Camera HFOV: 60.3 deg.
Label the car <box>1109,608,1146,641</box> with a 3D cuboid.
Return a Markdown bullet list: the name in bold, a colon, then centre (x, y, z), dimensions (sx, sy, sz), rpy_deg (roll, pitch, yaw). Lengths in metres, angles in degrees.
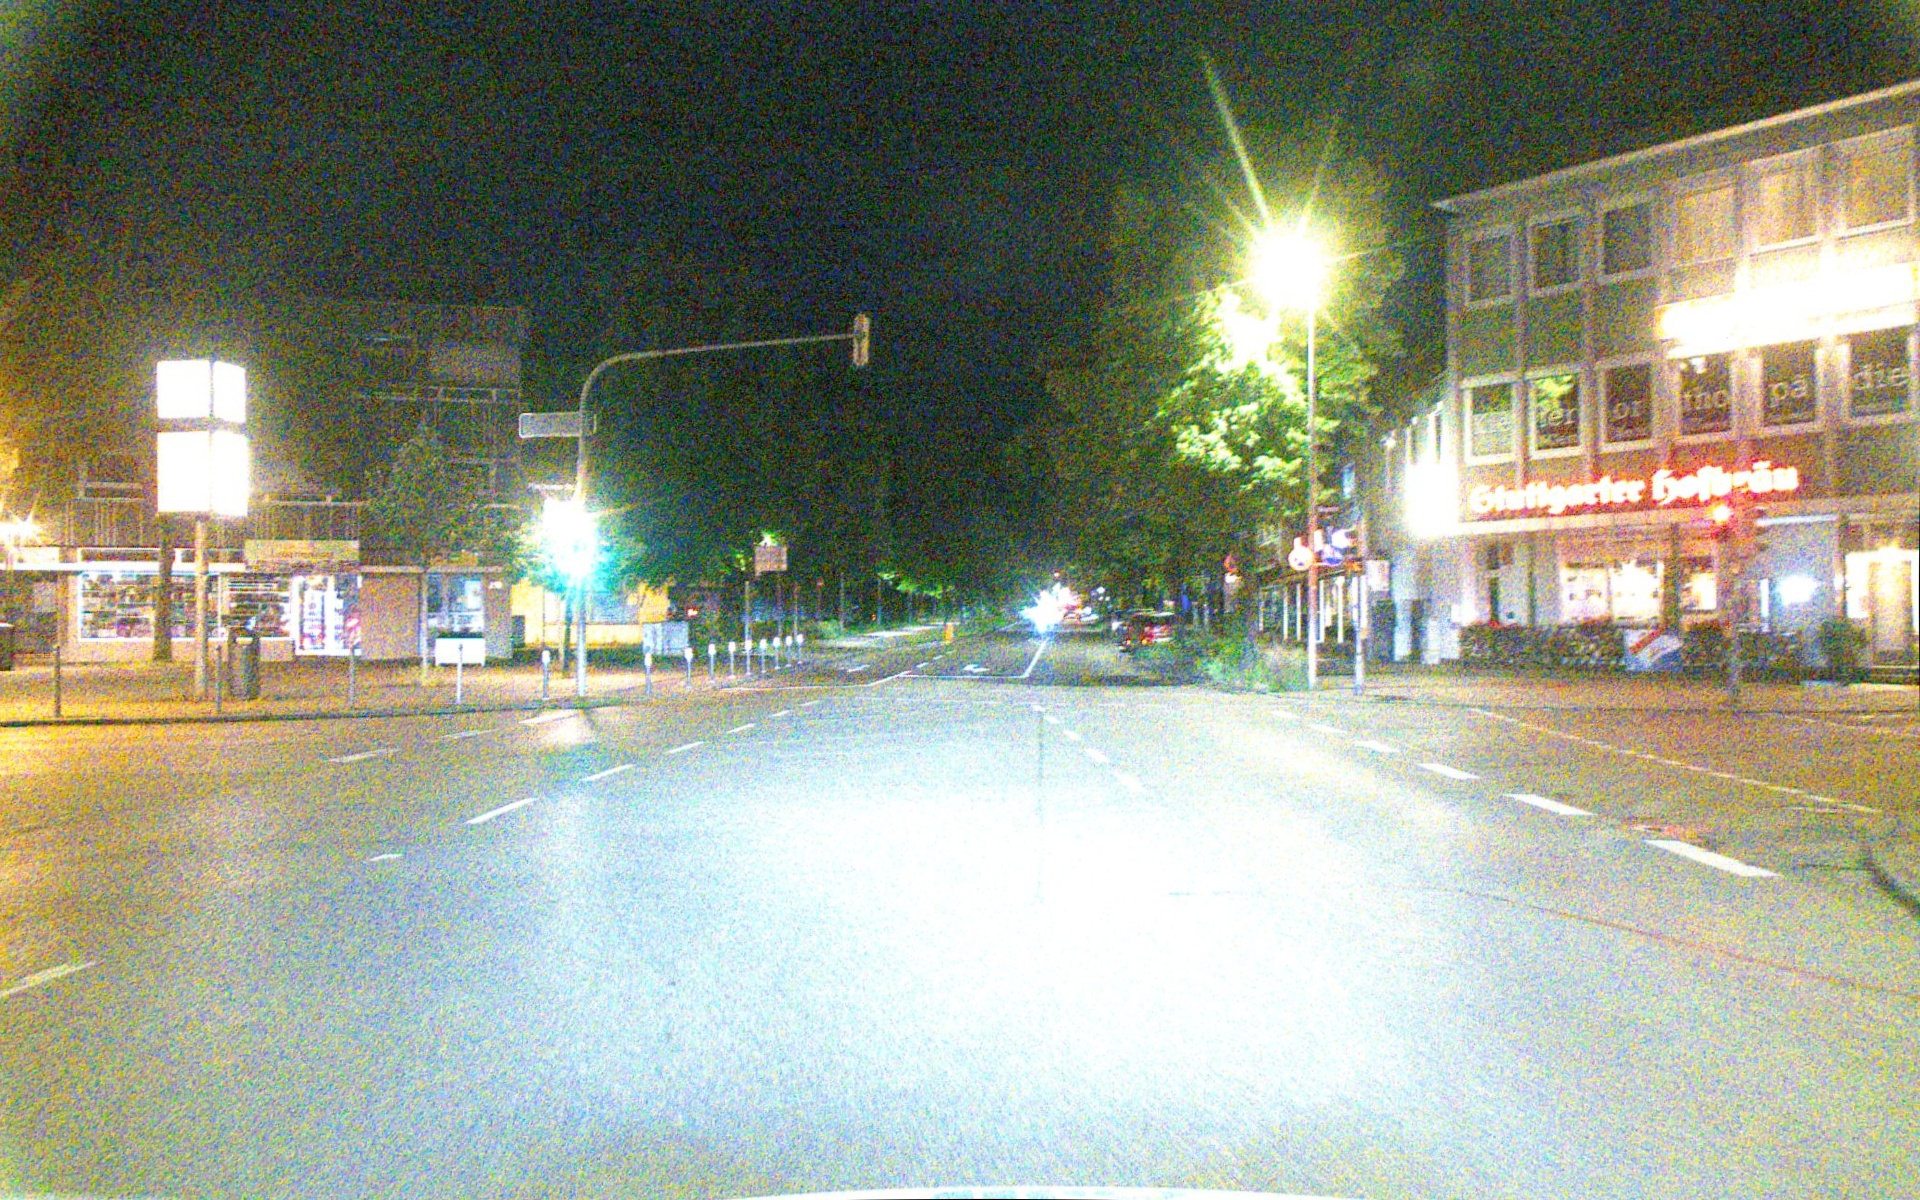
- **car**: centre (9.085, 1.333, 89.881), dimensions (1.837, 1.713, 4.002), rpy_deg (0, -1, 4)

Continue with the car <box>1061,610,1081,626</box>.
- **car**: centre (10.614, 1.688, 157.834), dimensions (1.834, 1.479, 4.318), rpy_deg (1, -1, 4)

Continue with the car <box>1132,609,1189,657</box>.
- **car**: centre (7.135, 1.156, 59.219), dimensions (1.837, 1.644, 4.002), rpy_deg (0, -1, 4)

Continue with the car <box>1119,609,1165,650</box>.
- **car**: centre (7.878, 1.267, 71.898), dimensions (1.837, 1.759, 4.002), rpy_deg (0, -1, 4)

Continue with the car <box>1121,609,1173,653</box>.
- **car**: centre (7.217, 1.180, 64.238), dimensions (1.837, 1.644, 4.002), rpy_deg (0, -1, 4)
